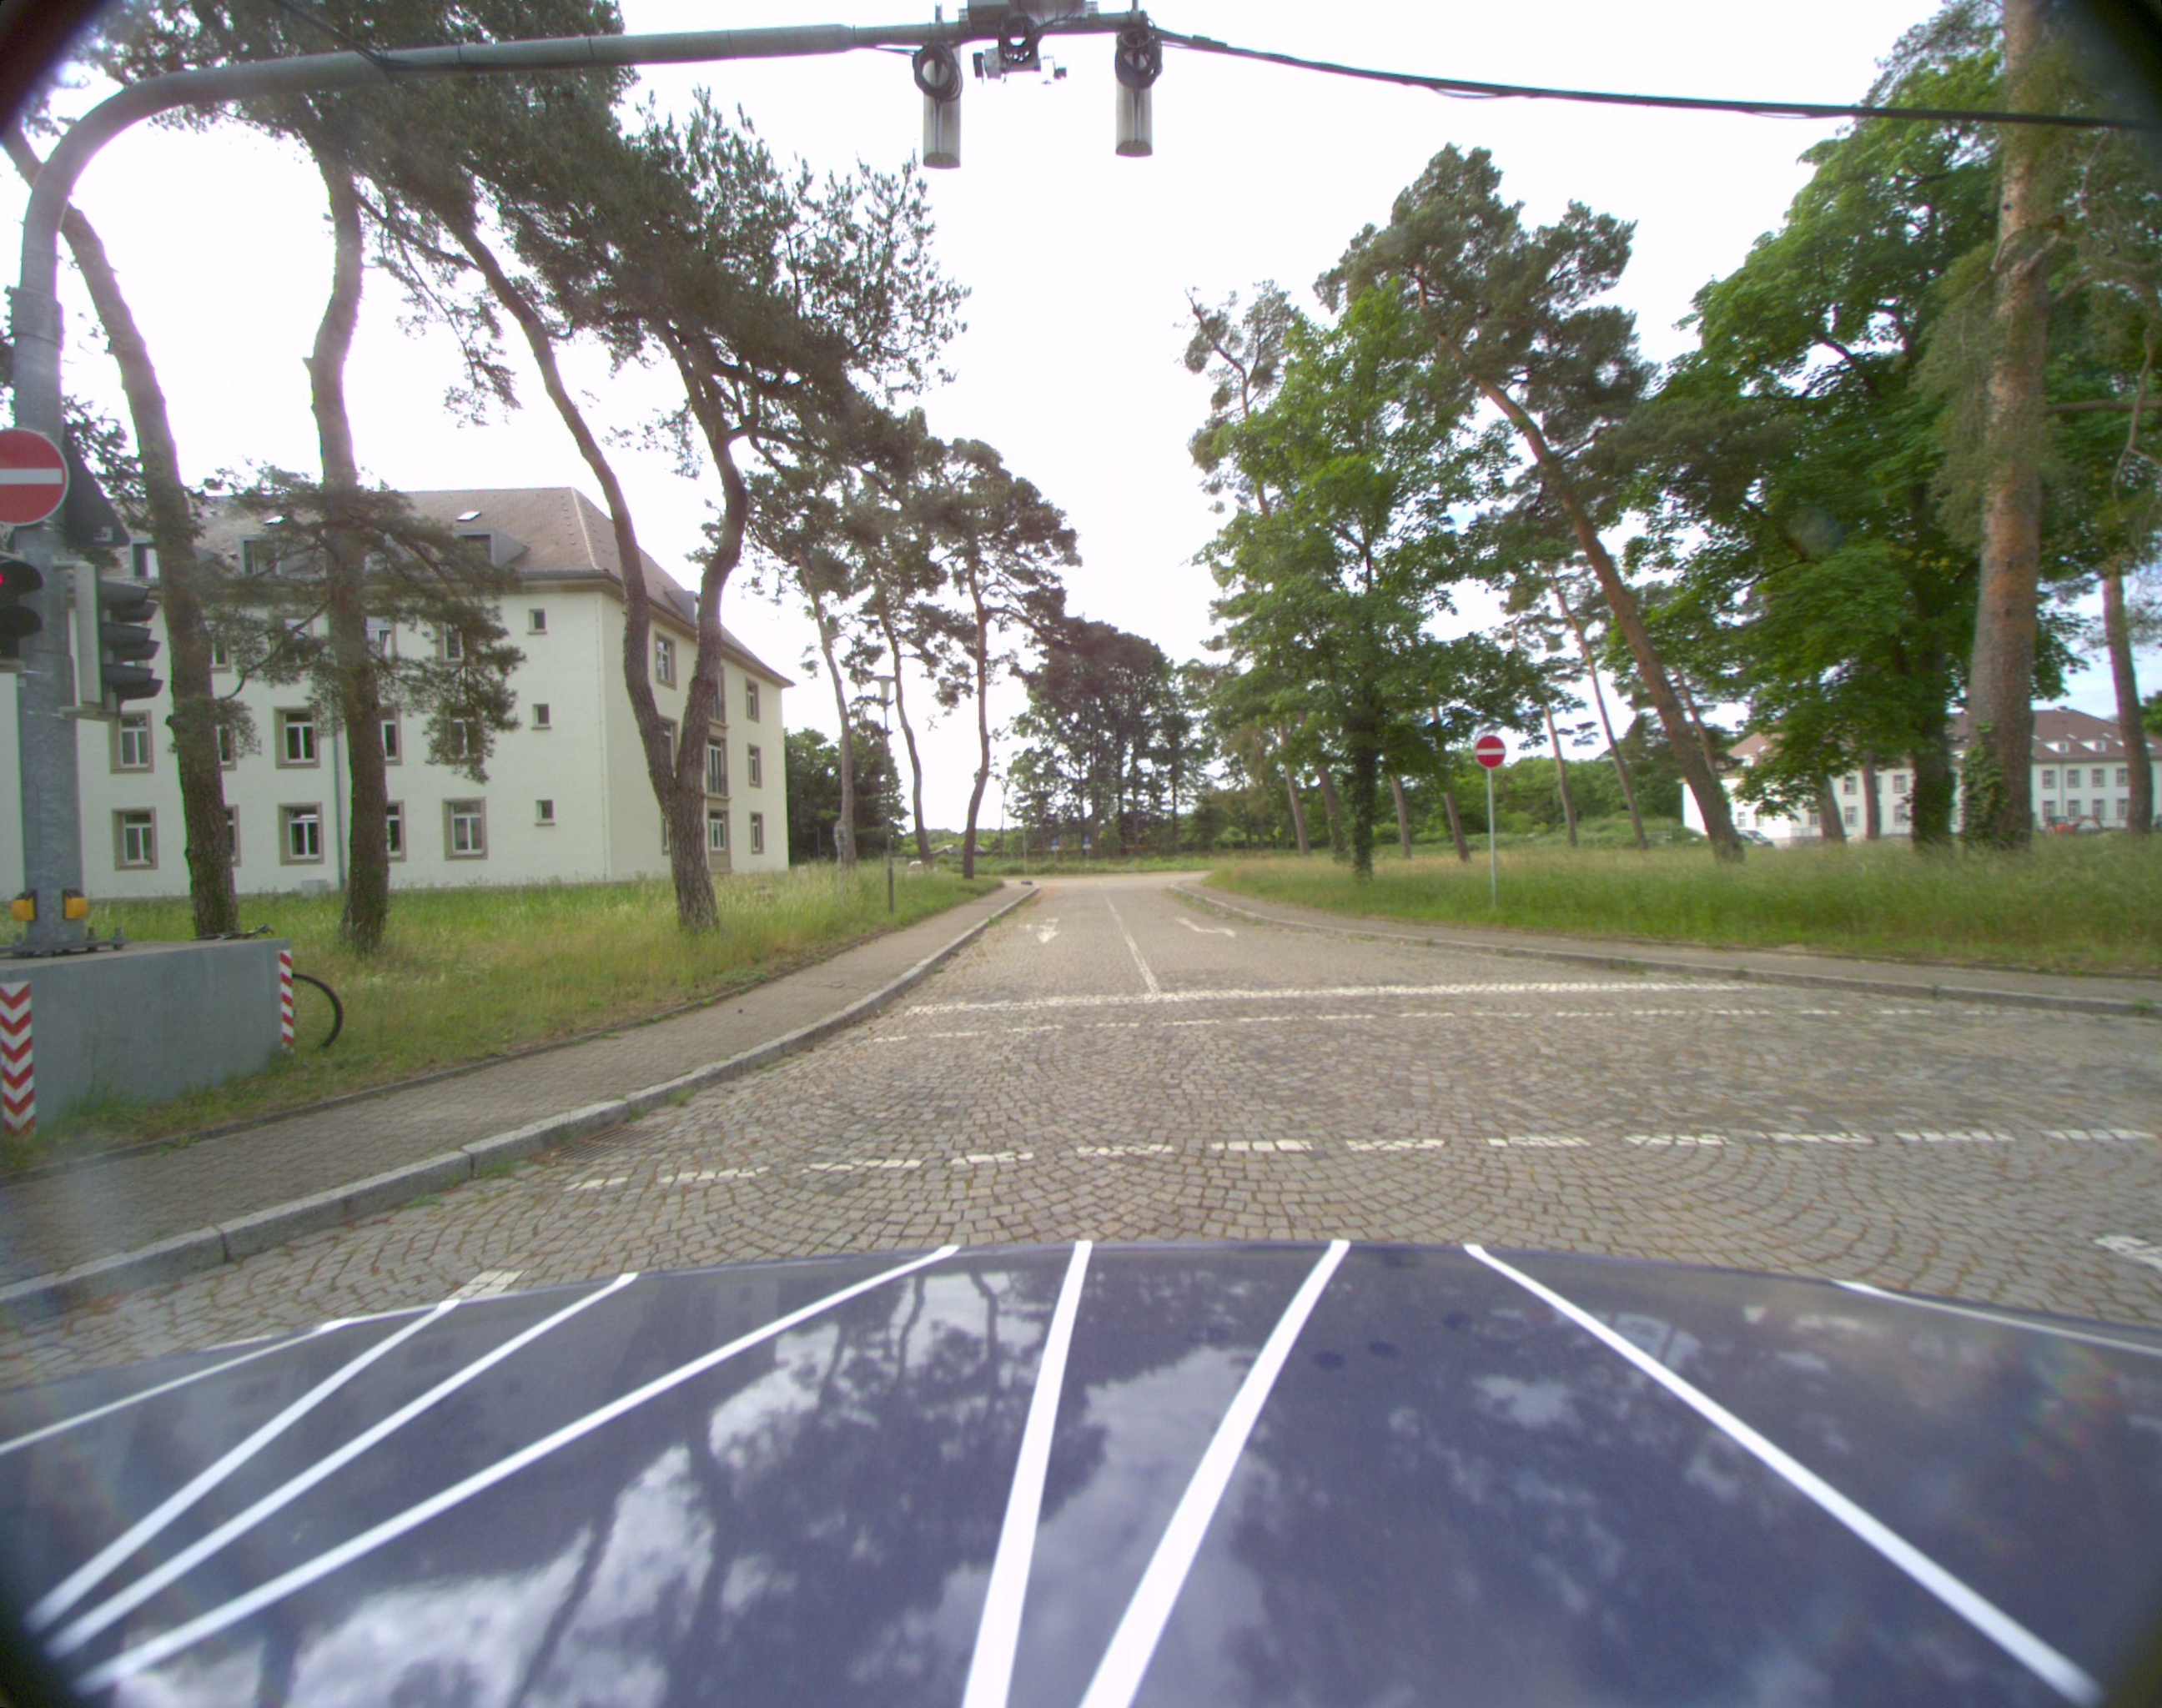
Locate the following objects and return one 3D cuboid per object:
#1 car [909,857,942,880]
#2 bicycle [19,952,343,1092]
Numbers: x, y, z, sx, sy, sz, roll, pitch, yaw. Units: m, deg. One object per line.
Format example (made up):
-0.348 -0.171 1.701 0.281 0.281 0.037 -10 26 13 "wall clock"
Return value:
-11.339 1.056 55.663 1.641 1.426 3.277 -2 3 1 "car"
-6.627 1.224 5.647 1.704 0.869 0.573 -2 1 1 "bicycle"
